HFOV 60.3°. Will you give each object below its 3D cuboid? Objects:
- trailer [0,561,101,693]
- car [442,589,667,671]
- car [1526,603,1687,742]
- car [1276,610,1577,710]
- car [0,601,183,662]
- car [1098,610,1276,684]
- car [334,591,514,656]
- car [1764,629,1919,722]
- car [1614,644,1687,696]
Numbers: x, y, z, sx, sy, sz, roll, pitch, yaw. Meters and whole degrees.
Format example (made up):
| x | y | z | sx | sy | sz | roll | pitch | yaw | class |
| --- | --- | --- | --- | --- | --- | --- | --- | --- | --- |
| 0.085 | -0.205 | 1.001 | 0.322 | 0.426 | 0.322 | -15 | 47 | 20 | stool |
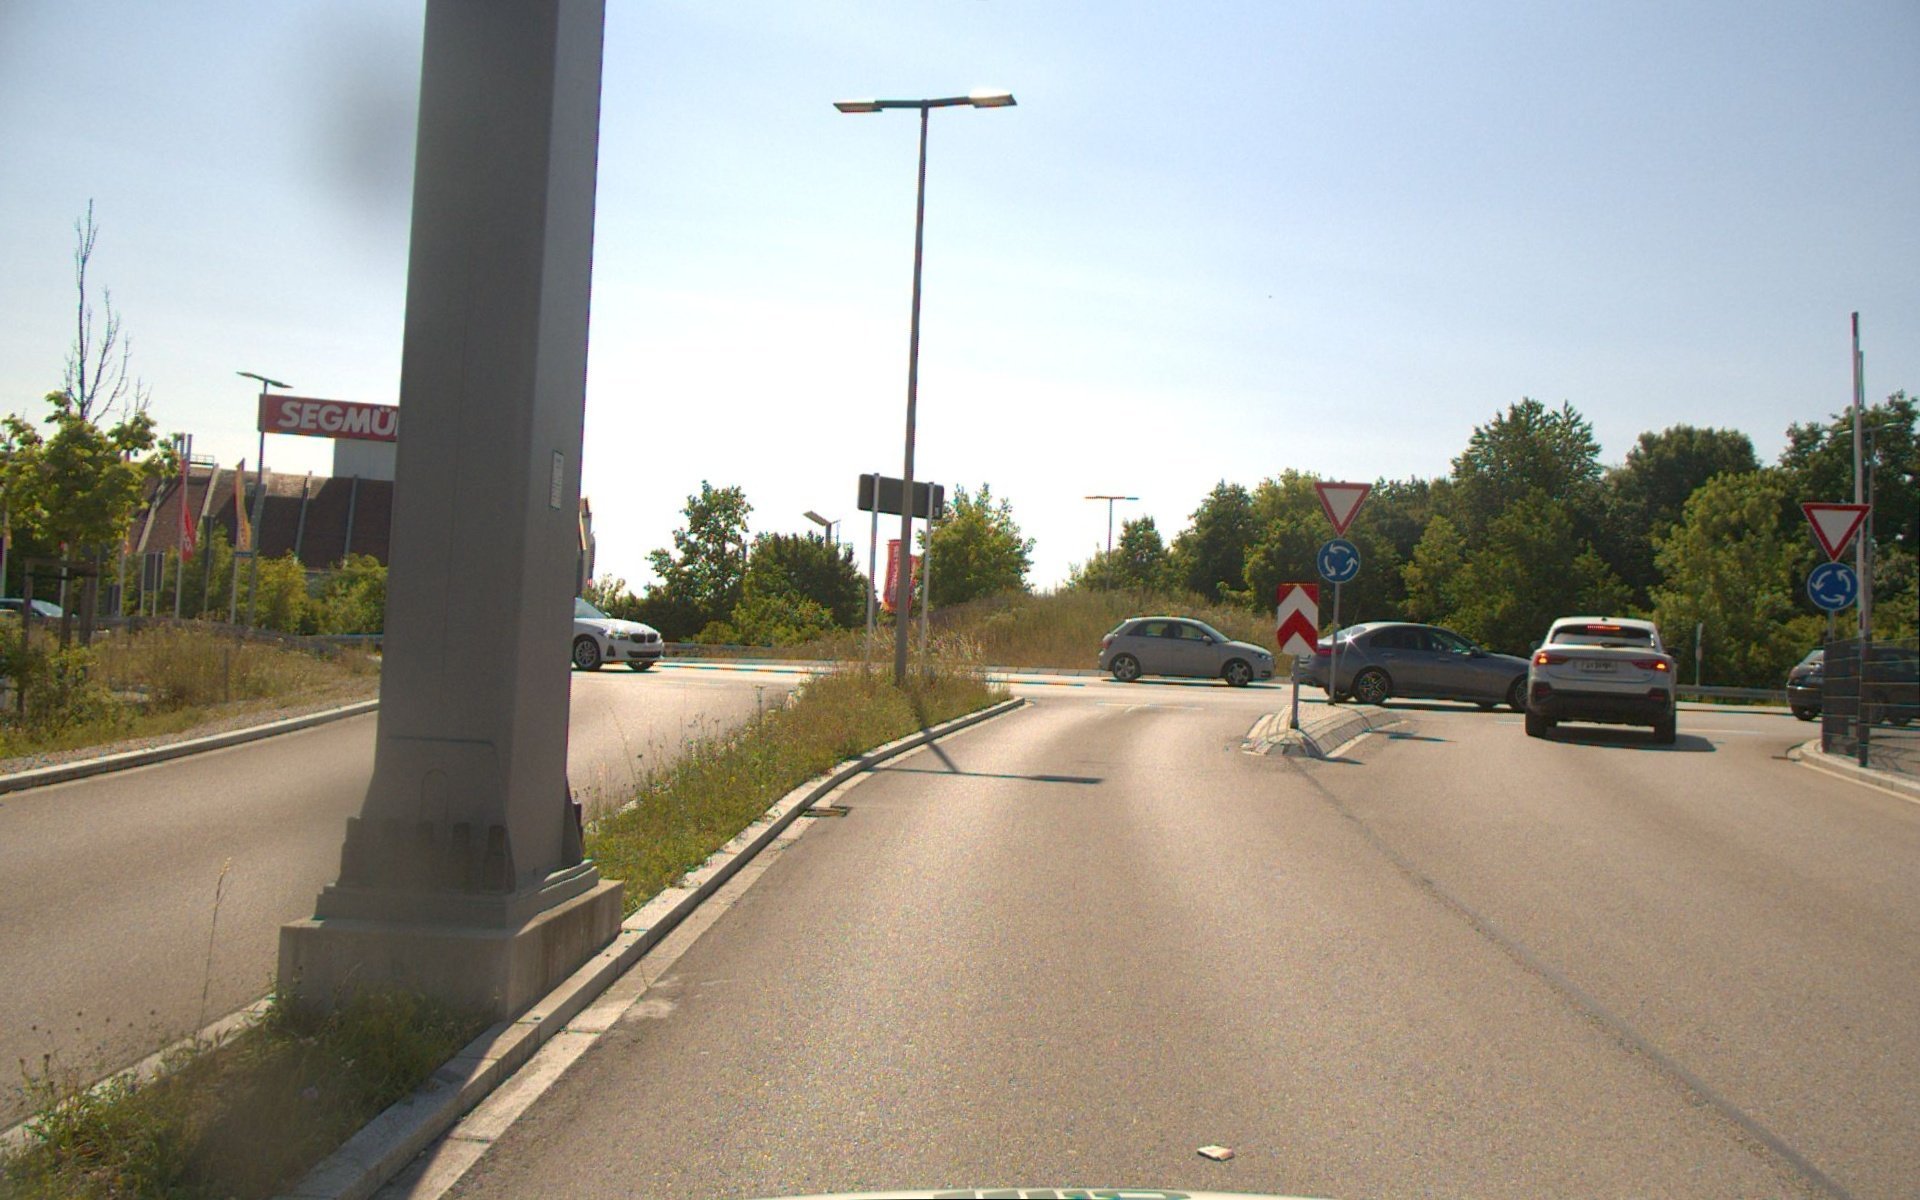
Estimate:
| x | y | z | sx | sy | sz | roll | pitch | yaw | class |
| --- | --- | --- | --- | --- | --- | --- | --- | --- | --- |
| -14.087 | 0.345 | 23.040 | 3.648 | 1.803 | 1.788 | 1 | 0 | -32 | trailer |
| -8.036 | 0.580 | 32.717 | 4.242 | 1.375 | 1.571 | 3 | -1 | 26 | car |
| 8.663 | 0.939 | 22.419 | 1.803 | 1.624 | 4.325 | 2 | -1 | 19 | car |
| 8.274 | 1.047 | 29.577 | 4.763 | 1.477 | 1.998 | 3 | -1 | -5 | car |
| -24.282 | 0.877 | 46.132 | 4.312 | 1.429 | 1.792 | 3 | -1 | 1 | car |
| 5.002 | 1.025 | 36.384 | 3.677 | 1.375 | 1.532 | 3 | -1 | 15 | car |
| -14.425 | 0.629 | 44.596 | 4.183 | 1.557 | 1.793 | 2 | -1 | 8 | car |
| 17.944 | 1.482 | 31.983 | 3.868 | 1.646 | 1.818 | 3 | -1 | 0 | car |
| 20.914 | 2.105 | 50.177 | 1.587 | 1.430 | 3.819 | 3 | -1 | 16 | car |
